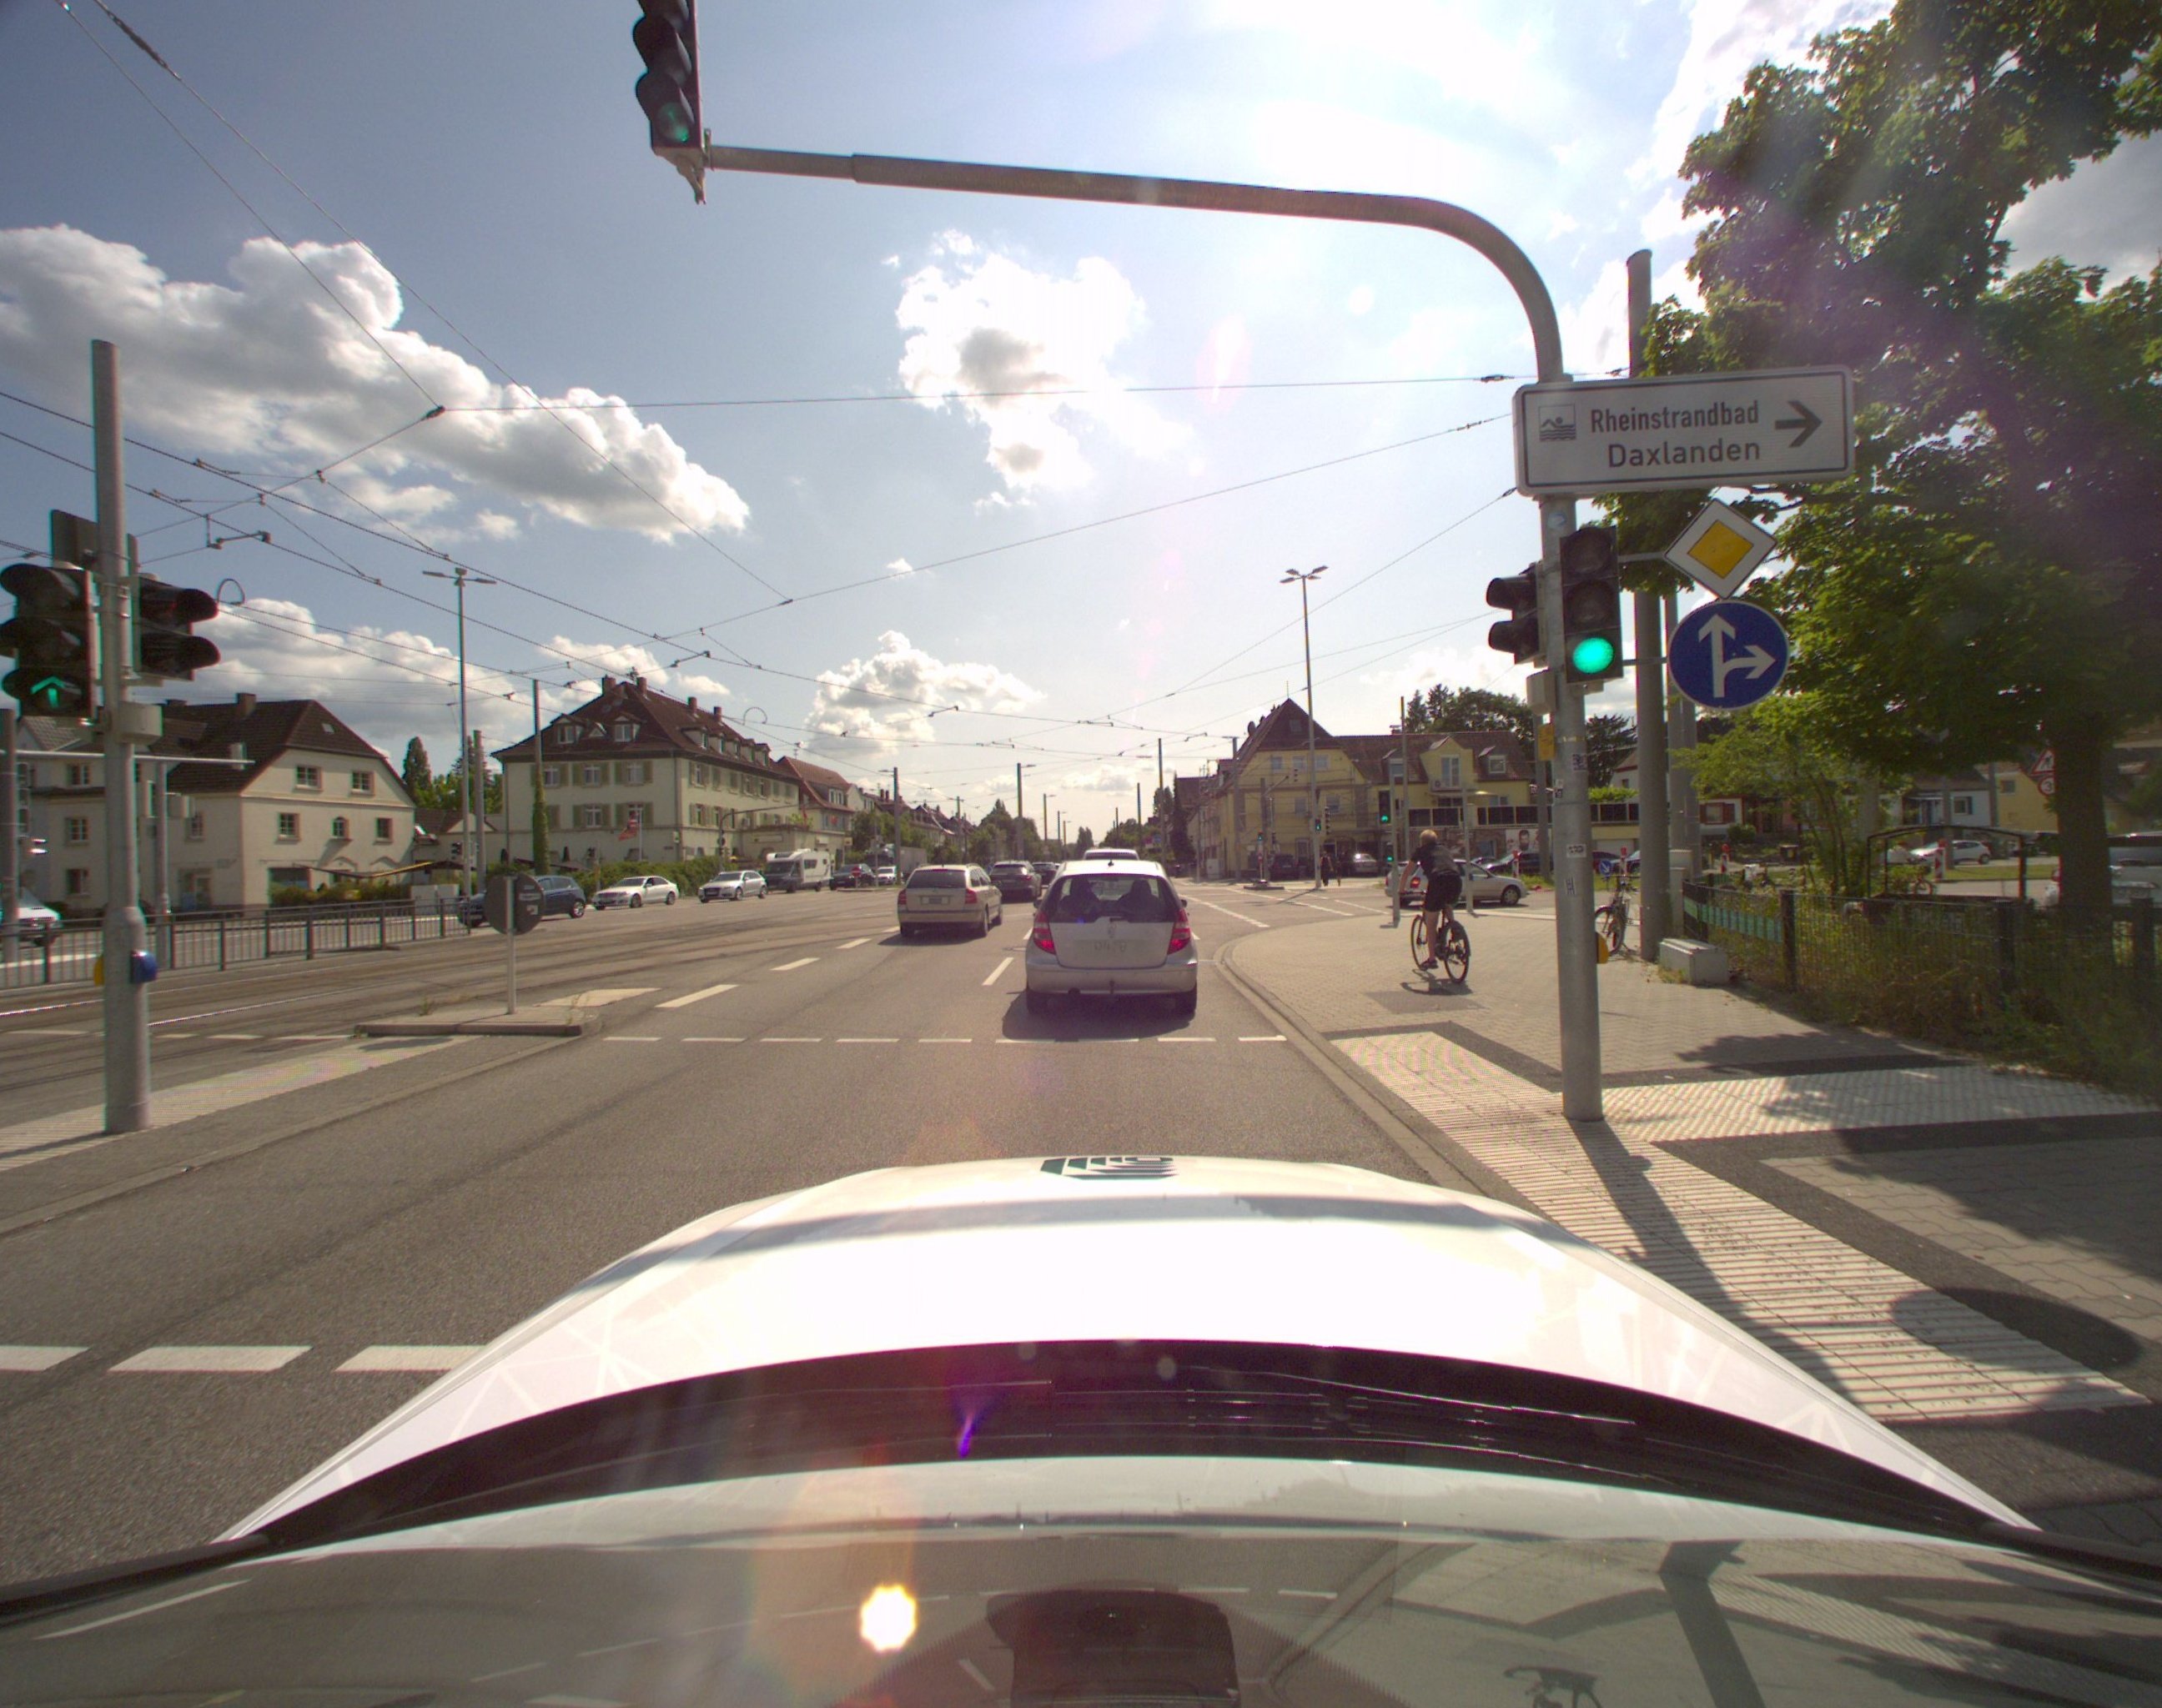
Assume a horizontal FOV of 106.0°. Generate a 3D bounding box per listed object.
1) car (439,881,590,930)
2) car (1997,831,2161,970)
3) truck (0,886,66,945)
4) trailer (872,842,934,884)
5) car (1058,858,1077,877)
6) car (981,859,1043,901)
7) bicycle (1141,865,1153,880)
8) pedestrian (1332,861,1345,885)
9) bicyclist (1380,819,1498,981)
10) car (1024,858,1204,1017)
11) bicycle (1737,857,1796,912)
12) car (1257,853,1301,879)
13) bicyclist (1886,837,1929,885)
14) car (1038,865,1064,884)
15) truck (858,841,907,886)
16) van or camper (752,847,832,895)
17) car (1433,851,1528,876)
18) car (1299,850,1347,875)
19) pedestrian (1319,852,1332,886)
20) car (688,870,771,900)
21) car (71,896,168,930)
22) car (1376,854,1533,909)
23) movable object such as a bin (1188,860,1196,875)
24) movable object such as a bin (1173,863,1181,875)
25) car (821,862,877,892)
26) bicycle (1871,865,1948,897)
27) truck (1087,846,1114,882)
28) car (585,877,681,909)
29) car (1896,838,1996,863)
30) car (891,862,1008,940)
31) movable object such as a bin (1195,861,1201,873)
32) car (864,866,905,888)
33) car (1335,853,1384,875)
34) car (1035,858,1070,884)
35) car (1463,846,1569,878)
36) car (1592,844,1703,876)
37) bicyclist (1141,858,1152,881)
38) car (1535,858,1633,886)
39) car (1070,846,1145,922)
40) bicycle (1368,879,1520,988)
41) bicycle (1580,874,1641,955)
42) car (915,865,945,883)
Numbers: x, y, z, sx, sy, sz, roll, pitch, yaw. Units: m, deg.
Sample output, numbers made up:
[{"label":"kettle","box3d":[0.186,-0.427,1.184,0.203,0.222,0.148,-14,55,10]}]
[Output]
[{"label":"car","box3d":[-17.433,1.534,25.342,1.678,1.352,4.179,0,-1,2]},{"label":"car","box3d":[14.380,0.498,10.185,4.099,1.597,1.797,-1,0,-5]},{"label":"truck","box3d":[-38.922,2.086,28.023,6.158,1.922,1.691,0,-1,3]},{"label":"trailer","box3d":[-17.997,0.788,83.472,2.588,3.821,12.849,-4,0,4]},{"label":"car","box3d":[-1.284,1.359,80.724,1.846,1.843,3.917,0,-1,0]},{"label":"car","box3d":[-2.527,0.933,31.010,1.910,1.477,4.562,0,-1,1]},{"label":"bicycle","box3d":[4.971,1.400,61.634,0.649,1.117,1.585,0,-1,-5]},{"label":"pedestrian","box3d":[12.297,0.901,38.950,0.486,1.136,0.389,0,-1,1]},{"label":"bicyclist","box3d":[4.240,0.517,9.731,0.826,1.794,1.083,-3,0,-3]},{"label":"car","box3d":[0.291,0.835,9.845,1.725,1.517,4.014,0,-1,-1]},{"label":"bicycle","box3d":[14.745,0.644,17.505,1.577,1.138,0.378,0,-1,-27]},{"label":"car","box3d":[12.656,0.778,52.291,1.986,1.596,4.132,0,-1,2]},{"label":"bicyclist","box3d":[21.816,0.175,21.507,0.575,1.234,0.508,-2,-1,-4]},{"label":"car","box3d":[-2.274,1.532,62.185,1.846,1.388,3.917,0,-1,0]},{"label":"truck","box3d":[-18.465,0.835,76.218,2.587,3.821,5.673,-4,0,4]},{"label":"van or camper","box3d":[-19.274,1.118,54.877,2.315,2.930,7.757,-2,-1,2]},{"label":"car","box3d":[21.557,0.513,44.008,4.304,1.308,1.738,0,-1,-2]},{"label":"car","box3d":[15.632,0.561,52.796,1.986,1.596,4.132,0,-1,2]},{"label":"pedestrian","box3d":[11.728,0.725,39.042,0.544,1.643,0.402,0,-1,6]},{"label":"car","box3d":[-16.603,1.423,38.689,1.986,1.352,4.179,0,-1,2]},{"label":"car","box3d":[-51.124,3.106,43.312,4.238,1.668,1.943,-1,-1,19]},{"label":"car","box3d":[11.151,0.780,24.441,4.001,1.403,1.731,-1,3,-8]},{"label":"movable object such as a bin","box3d":[8.641,1.041,63.216,0.509,1.105,0.855,-1,-1,2]},{"label":"movable object such as a bin","box3d":[7.435,1.188,63.124,0.509,0.918,0.742,-1,-1,2]},{"label":"car","box3d":[-15.565,1.524,54.834,1.985,1.776,4.883,-3,0,4]},{"label":"bicycle","box3d":[21.854,0.704,21.500,1.576,0.781,0.504,-2,-1,-4]},{"label":"truck","box3d":[1.417,0.761,60.515,1.846,2.552,5.853,0,-1,0]},{"label":"car","box3d":[-20.238,1.723,37.028,1.677,1.352,4.349,0,-1,4]},{"label":"car","box3d":[52.192,-0.186,49.165,4.304,1.474,1.738,0,-1,-2]},{"label":"car","box3d":[-2.692,0.909,17.578,1.724,1.449,4.124,0,0,2]},{"label":"movable object such as a bin","box3d":[9.898,1.102,68.970,0.466,0.947,0.558,-2,-1,1]},{"label":"car","box3d":[-15.718,1.813,65.294,1.986,1.552,4.179,-5,-1,2]},{"label":"car","box3d":[17.923,0.667,52.656,1.860,1.351,4.132,0,-1,2]},{"label":"car","box3d":[-1.539,0.933,45.772,1.846,1.388,4.513,0,-1,0]},{"label":"car","box3d":[21.363,0.414,40.091,4.304,1.328,1.738,-3,-1,-2]},{"label":"car","box3d":[27.936,0.300,40.230,4.304,1.328,1.738,-3,-1,-2]},{"label":"bicyclist","box3d":[4.963,1.185,61.721,0.649,1.738,0.982,0,-1,-5]},{"label":"car","box3d":[27.301,0.985,44.279,4.304,1.474,1.738,0,-1,-2]},{"label":"car","box3d":[0.632,0.728,20.823,1.724,1.762,4.016,0,-1,1]},{"label":"bicycle","box3d":[4.276,0.894,9.793,0.826,1.075,1.969,-3,0,-3]},{"label":"bicycle","box3d":[7.374,0.800,11.312,0.457,1.019,1.767,-1,-2,41]},{"label":"car","box3d":[-14.918,1.992,80.655,1.787,1.637,4.474,-3,-1,3]}]
